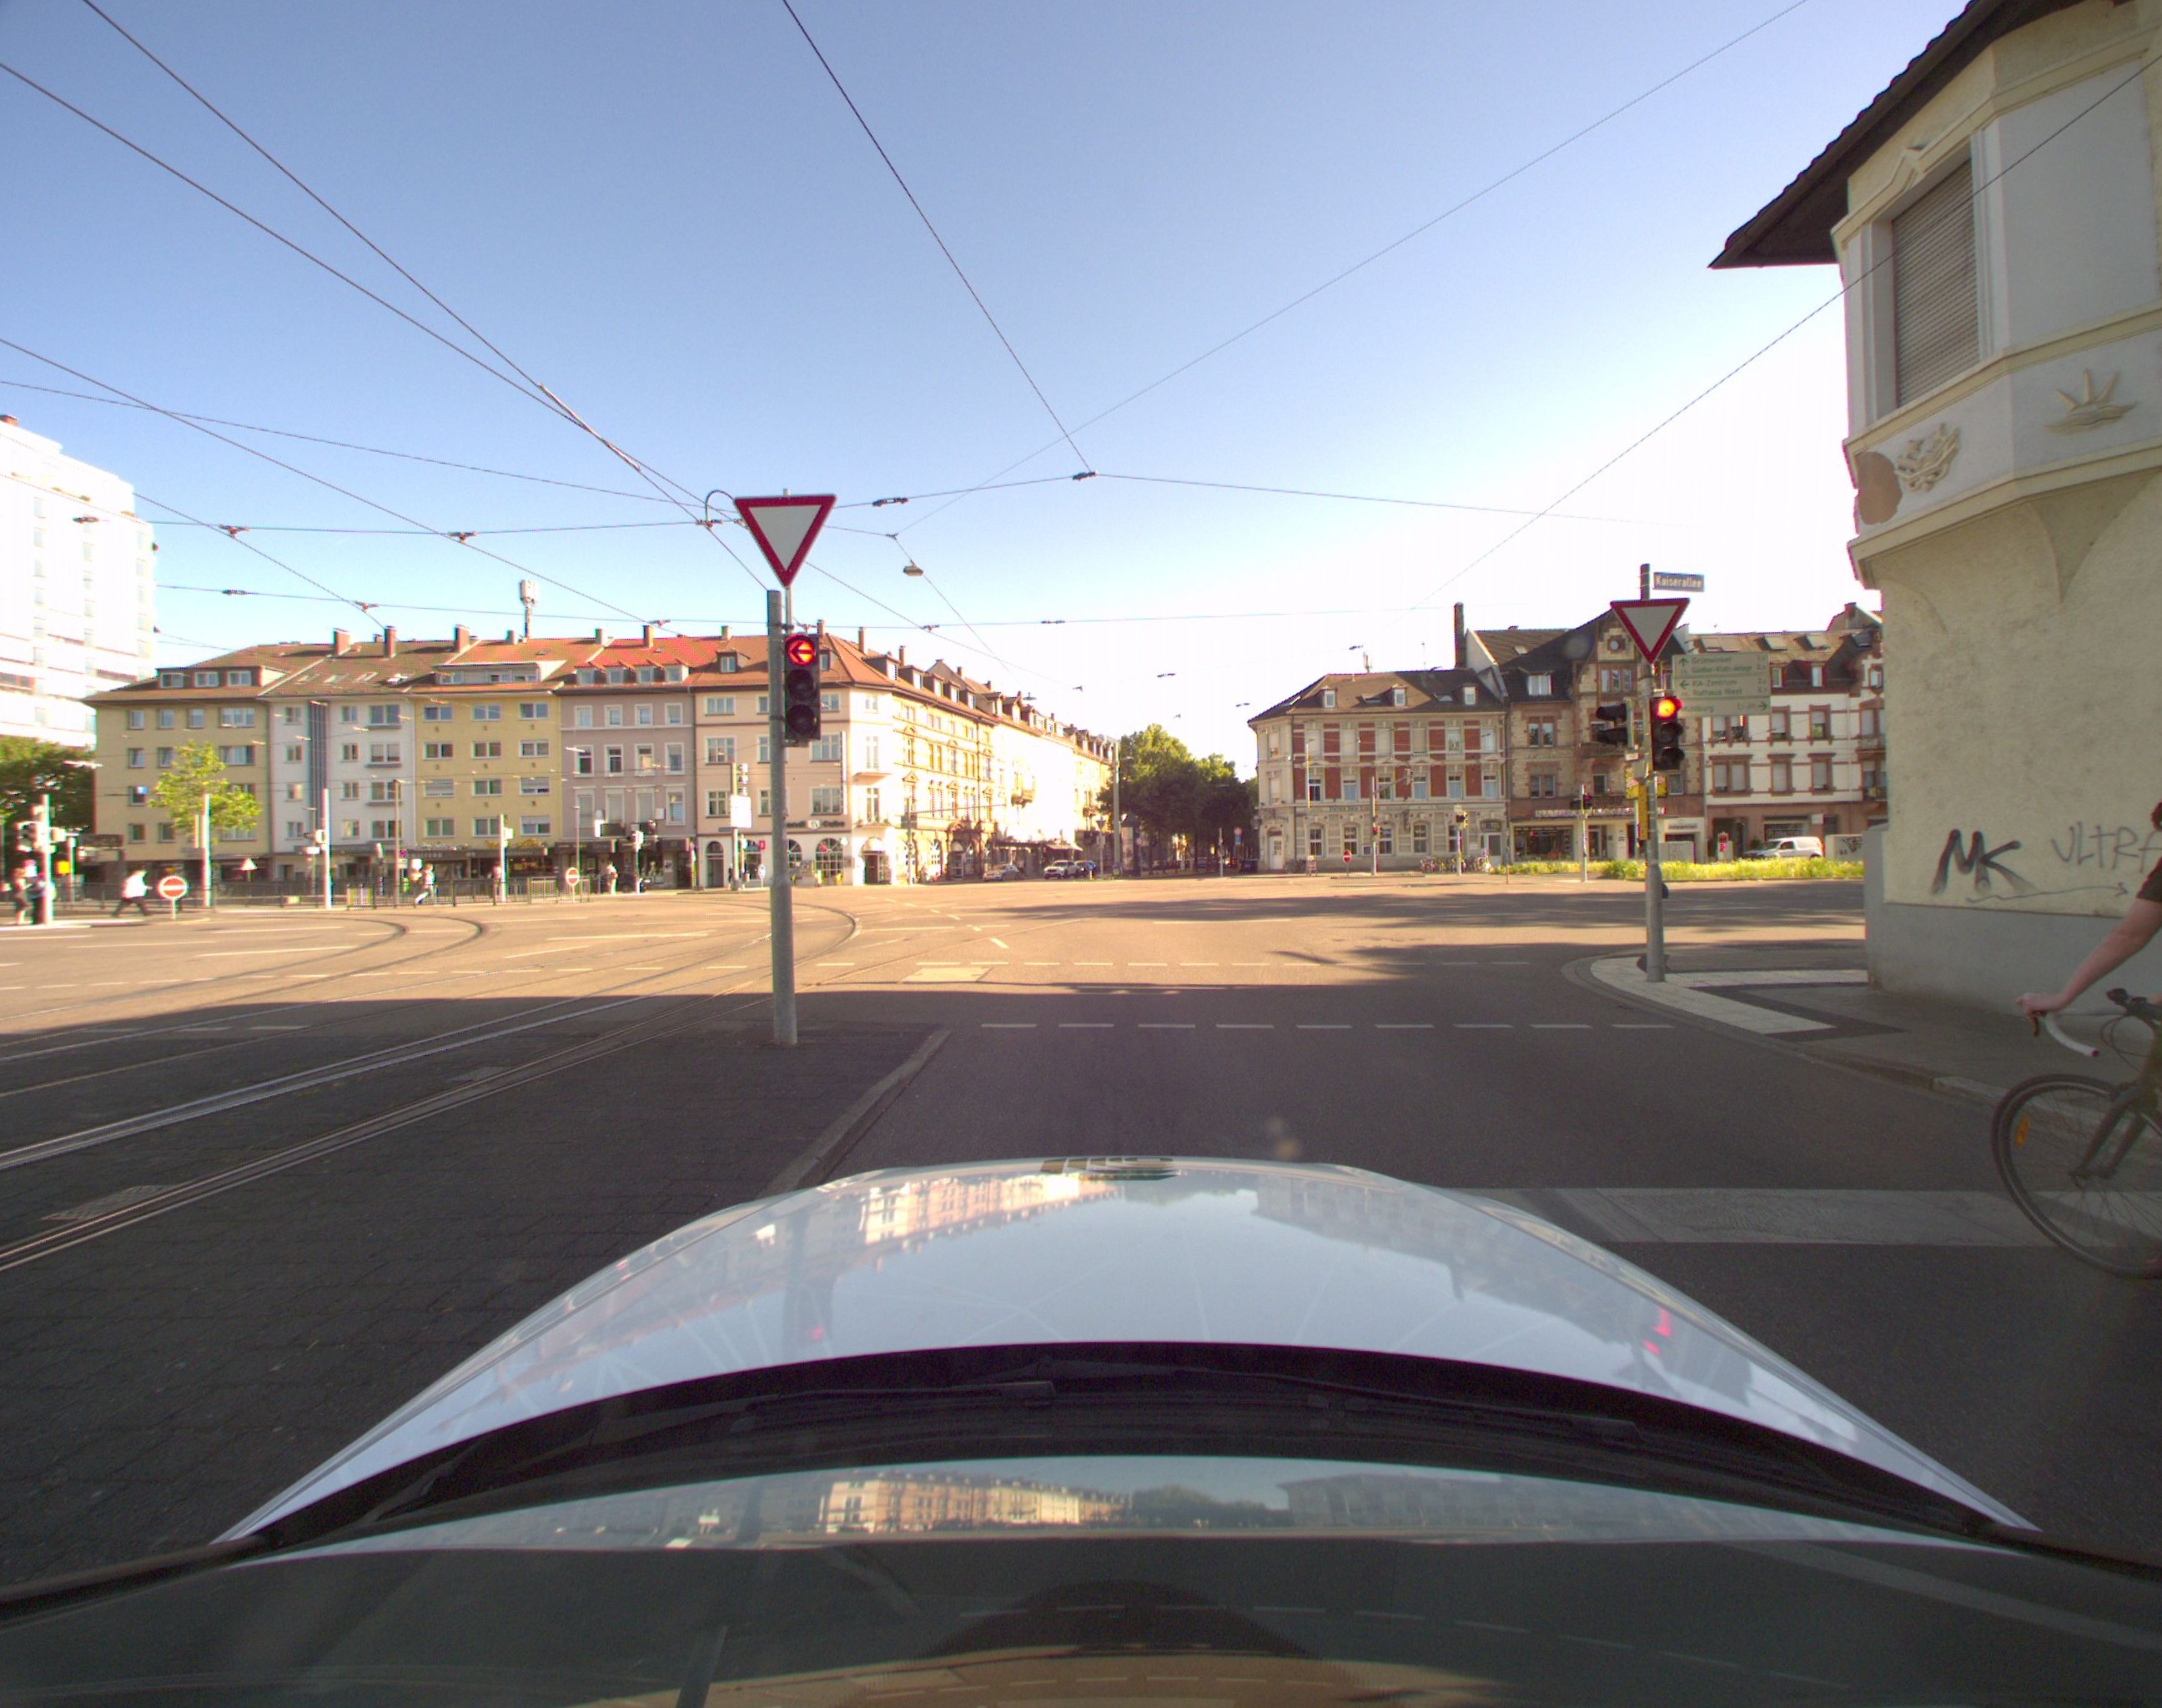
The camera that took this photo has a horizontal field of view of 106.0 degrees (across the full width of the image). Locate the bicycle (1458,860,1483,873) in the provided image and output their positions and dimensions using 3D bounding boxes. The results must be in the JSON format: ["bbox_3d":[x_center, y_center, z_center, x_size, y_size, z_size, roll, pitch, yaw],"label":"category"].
[{"bbox_3d":[25.207,0.800,52.702,0.656,0.840,2.162,0,-1,3],"label":"bicycle"}]

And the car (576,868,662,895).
[{"bbox_3d":[-30.363,1.788,53.639,4.347,1.711,2.308,0,-1,4],"label":"car"}]

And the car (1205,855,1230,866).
[{"bbox_3d":[21.453,1.055,127.721,3.549,1.648,1.691,-2,0,19],"label":"car"}]

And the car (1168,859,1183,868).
[{"bbox_3d":[15.725,1.517,135.602,1.664,1.354,3.608,-2,0,19],"label":"car"}]

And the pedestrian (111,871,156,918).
[{"bbox_3d":[-33.087,1.398,28.438,0.657,1.577,0.889,-1,-1,29],"label":"pedestrian"}]

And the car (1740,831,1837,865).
[{"bbox_3d":[45.445,-0.387,52.401,4.406,2.013,2.002,-1,0,4],"label":"car"}]

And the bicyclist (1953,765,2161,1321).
[{"bbox_3d":[3.576,0.573,2.501,0.570,1.701,1.117,-1,0,2],"label":"bicyclist"}]

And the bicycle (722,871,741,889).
[{"bbox_3d":[-22.765,1.689,53.027,0.570,1.077,1.497,0,-1,2],"label":"bicycle"}]

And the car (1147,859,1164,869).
[{"bbox_3d":[11.247,1.502,122.364,1.664,1.354,3.608,-2,0,19],"label":"car"}]

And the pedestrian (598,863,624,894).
[{"bbox_3d":[-24.566,1.285,42.568,0.842,1.577,0.836,-1,-1,11],"label":"pedestrian"}]

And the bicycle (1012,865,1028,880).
[{"bbox_3d":[-4.892,1.482,65.535,0.696,1.118,1.642,-1,-1,16],"label":"bicycle"}]

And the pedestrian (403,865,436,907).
[{"bbox_3d":[-25.358,1.214,31.220,0.545,1.577,0.838,-1,-1,29],"label":"pedestrian"}]

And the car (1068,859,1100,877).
[{"bbox_3d":[0.310,1.238,73.770,1.664,1.483,3.967,-2,0,19],"label":"car"}]

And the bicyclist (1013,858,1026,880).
[{"bbox_3d":[-4.938,1.207,65.415,0.772,1.803,1.060,-1,-1,16],"label":"bicyclist"}]

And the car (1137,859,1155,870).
[{"bbox_3d":[9.177,1.489,115.447,1.664,1.354,3.608,-2,0,19],"label":"car"}]

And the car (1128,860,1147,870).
[{"bbox_3d":[7.702,1.486,111.323,1.664,1.354,3.608,-2,0,19],"label":"car"}]

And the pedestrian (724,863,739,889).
[{"bbox_3d":[-22.765,1.398,53.033,0.580,1.670,0.753,0,-1,2],"label":"pedestrian"}]

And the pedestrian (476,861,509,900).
[{"bbox_3d":[-24.505,1.103,33.939,0.720,1.577,0.836,-1,-1,11],"label":"pedestrian"}]

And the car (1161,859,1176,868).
[{"bbox_3d":[14.038,1.498,130.609,1.664,1.354,3.608,-2,0,19],"label":"car"}]

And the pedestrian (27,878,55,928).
[{"bbox_3d":[-31.913,1.498,24.993,0.456,1.505,0.485,-1,1,38],"label":"pedestrian"}]

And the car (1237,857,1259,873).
[{"bbox_3d":[16.907,1.093,82.335,1.664,1.483,3.967,-2,0,19],"label":"car"}]

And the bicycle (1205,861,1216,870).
[{"bbox_3d":[15.773,1.388,99.280,0.636,1.021,1.839,0,-1,-12],"label":"bicycle"}]

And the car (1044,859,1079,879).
[{"bbox_3d":[-1.602,1.211,67.511,1.664,1.483,3.789,-2,0,19],"label":"car"}]

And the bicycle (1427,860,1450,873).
[{"bbox_3d":[23.163,0.816,52.755,0.656,0.840,2.162,0,-1,3],"label":"bicycle"}]

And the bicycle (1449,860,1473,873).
[{"bbox_3d":[24.570,0.805,52.748,0.656,0.840,2.162,0,-1,3],"label":"bicycle"}]

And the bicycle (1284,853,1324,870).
[{"bbox_3d":[15.606,0.496,57.060,2.547,1.174,0.818,0,-1,-1],"label":"bicycle"}]

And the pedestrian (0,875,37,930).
[{"bbox_3d":[-32.919,1.498,25.242,0.456,1.644,0.643,-1,1,38],"label":"pedestrian"}]

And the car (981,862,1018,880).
[{"bbox_3d":[-6.707,1.422,67.227,1.664,1.354,3.608,-2,0,19],"label":"car"}]

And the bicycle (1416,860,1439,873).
[{"bbox_3d":[22.428,0.821,52.697,0.656,0.840,2.162,0,-1,3],"label":"bicycle"}]

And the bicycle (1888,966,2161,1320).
[{"bbox_3d":[3.600,0.955,2.510,0.516,0.970,1.750,-1,0,2],"label":"bicycle"}]

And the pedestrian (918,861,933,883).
[{"bbox_3d":[-11.754,1.335,61.669,0.770,1.670,0.834,-1,-1,17],"label":"pedestrian"}]

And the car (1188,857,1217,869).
[{"bbox_3d":[17.208,1.253,115.455,3.870,1.648,1.691,-2,0,19],"label":"car"}]

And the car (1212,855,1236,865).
[{"bbox_3d":[23.359,0.961,133.154,3.549,1.648,1.691,-2,0,19],"label":"car"}]

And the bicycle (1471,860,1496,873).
[{"bbox_3d":[26.010,0.794,52.717,0.656,0.840,2.162,0,-1,3],"label":"bicycle"}]

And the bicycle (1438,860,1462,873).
[{"bbox_3d":[23.887,0.810,52.741,0.656,0.840,2.162,0,-1,3],"label":"bicycle"}]
